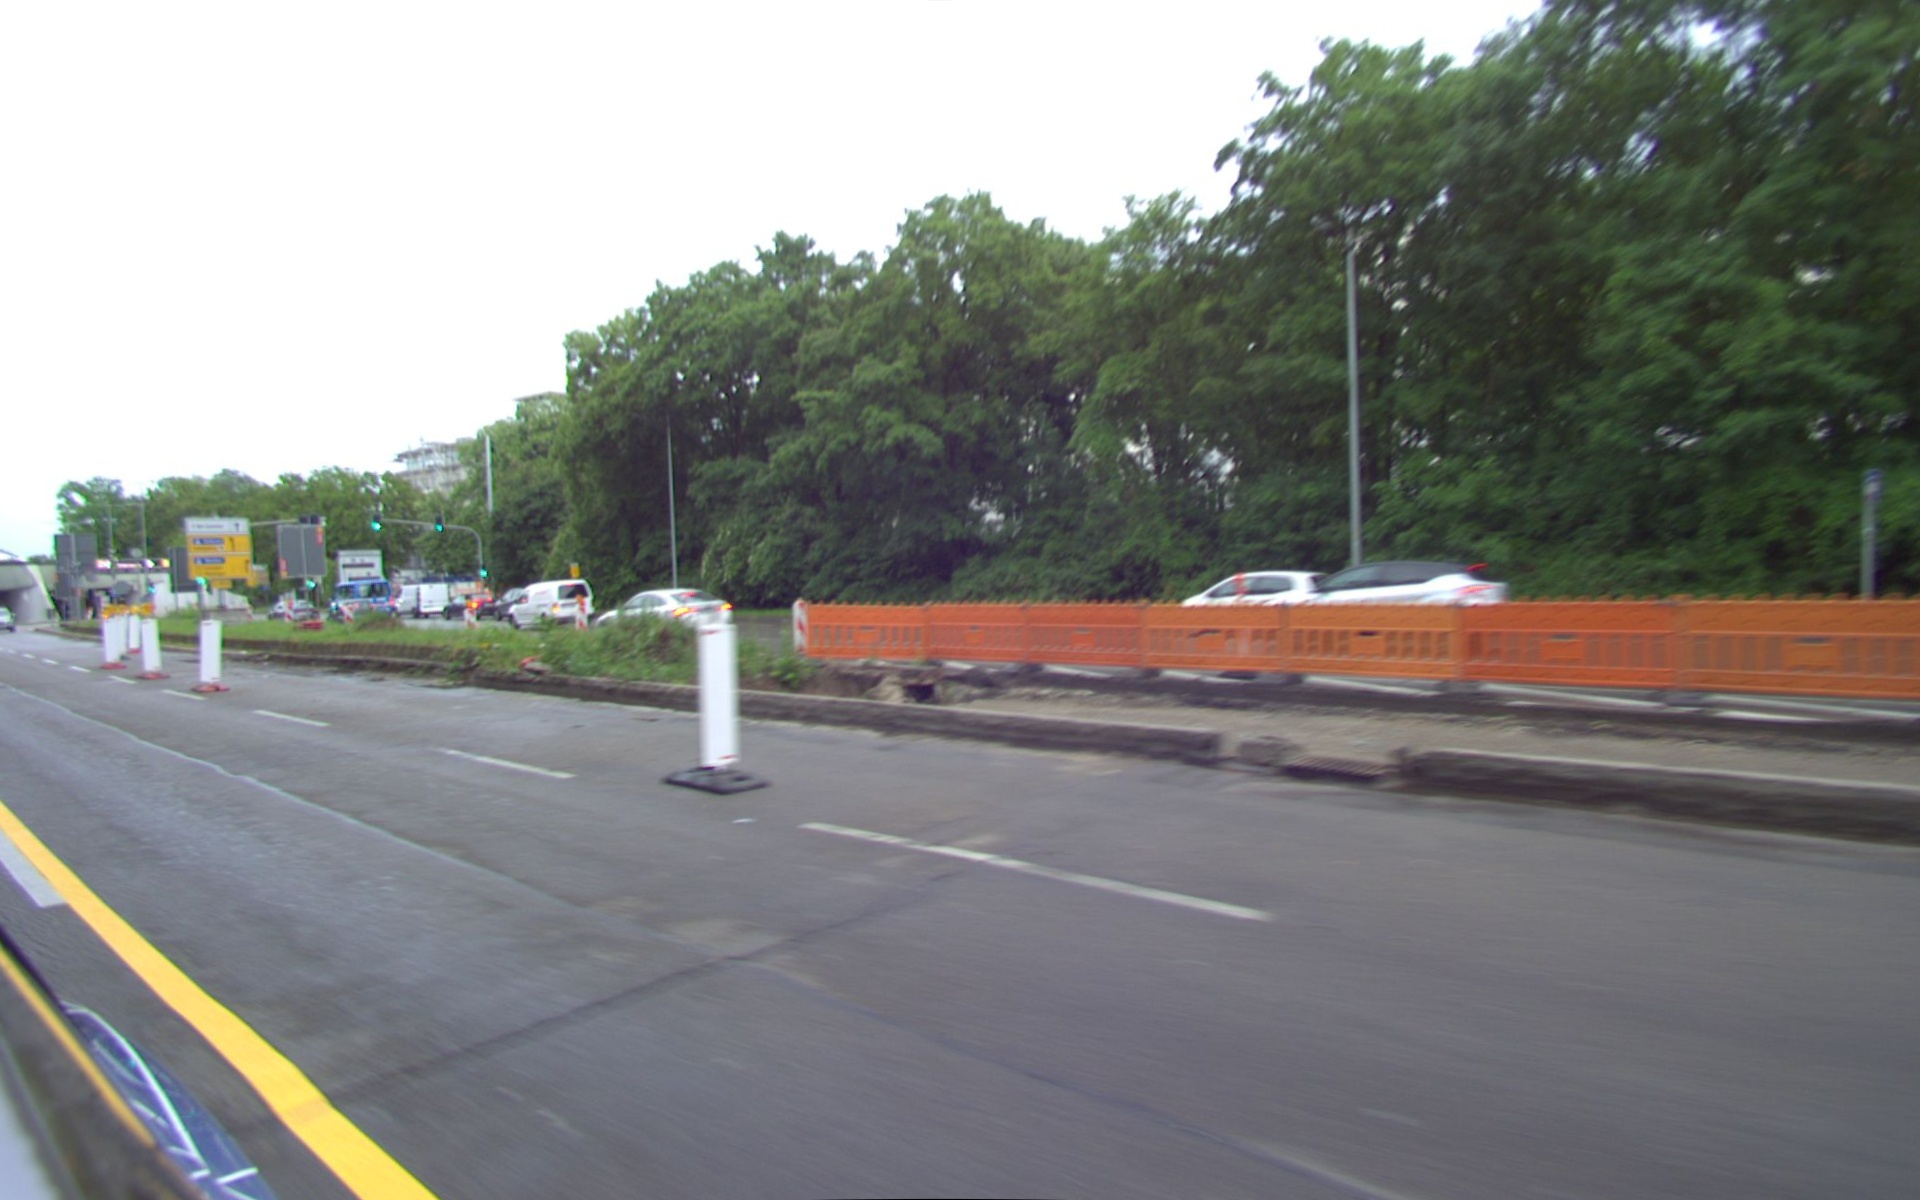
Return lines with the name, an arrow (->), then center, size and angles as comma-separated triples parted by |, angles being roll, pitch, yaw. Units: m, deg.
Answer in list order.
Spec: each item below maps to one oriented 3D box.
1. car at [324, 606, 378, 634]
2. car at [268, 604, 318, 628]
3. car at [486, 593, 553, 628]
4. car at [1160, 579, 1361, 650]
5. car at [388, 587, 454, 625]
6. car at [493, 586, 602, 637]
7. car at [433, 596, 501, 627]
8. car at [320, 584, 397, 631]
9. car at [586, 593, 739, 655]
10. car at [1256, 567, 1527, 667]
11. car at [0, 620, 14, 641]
car -> -28.936, 0.954, 48.069 | 1.413, 1.209, 3.302 | -4, 2, -45
car -> -36.915, 0.874, 55.941 | 1.531, 1.209, 4.651 | -4, 2, -43
car -> -21.198, 0.512, 48.618 | 1.652, 1.535, 3.792 | -4, 2, -45
car -> 6.625, 0.316, 22.495 | 3.894, 1.436, 1.772 | -1, 0, 41
car -> -32.128, 0.371, 60.288 | 4.992, 1.989, 2.012 | -3, 1, 45
car -> -16.146, 0.475, 39.492 | 4.831, 1.794, 1.894 | -2, 1, 41
car -> -26.085, 0.602, 53.457 | 1.773, 1.535, 4.637 | -4, 2, -45
car -> -34.543, 0.487, 58.027 | 6.246, 2.408, 2.170 | -3, 1, 45
car -> -8.216, 0.648, 27.728 | 4.677, 1.497, 1.836 | -2, 0, 42
car -> 7.531, 0.275, 17.868 | 4.038, 1.562, 1.816 | -1, 0, 41
car -> -63.167, 1.982, 65.989 | 3.822, 1.317, 1.676 | -1, 1, 40
